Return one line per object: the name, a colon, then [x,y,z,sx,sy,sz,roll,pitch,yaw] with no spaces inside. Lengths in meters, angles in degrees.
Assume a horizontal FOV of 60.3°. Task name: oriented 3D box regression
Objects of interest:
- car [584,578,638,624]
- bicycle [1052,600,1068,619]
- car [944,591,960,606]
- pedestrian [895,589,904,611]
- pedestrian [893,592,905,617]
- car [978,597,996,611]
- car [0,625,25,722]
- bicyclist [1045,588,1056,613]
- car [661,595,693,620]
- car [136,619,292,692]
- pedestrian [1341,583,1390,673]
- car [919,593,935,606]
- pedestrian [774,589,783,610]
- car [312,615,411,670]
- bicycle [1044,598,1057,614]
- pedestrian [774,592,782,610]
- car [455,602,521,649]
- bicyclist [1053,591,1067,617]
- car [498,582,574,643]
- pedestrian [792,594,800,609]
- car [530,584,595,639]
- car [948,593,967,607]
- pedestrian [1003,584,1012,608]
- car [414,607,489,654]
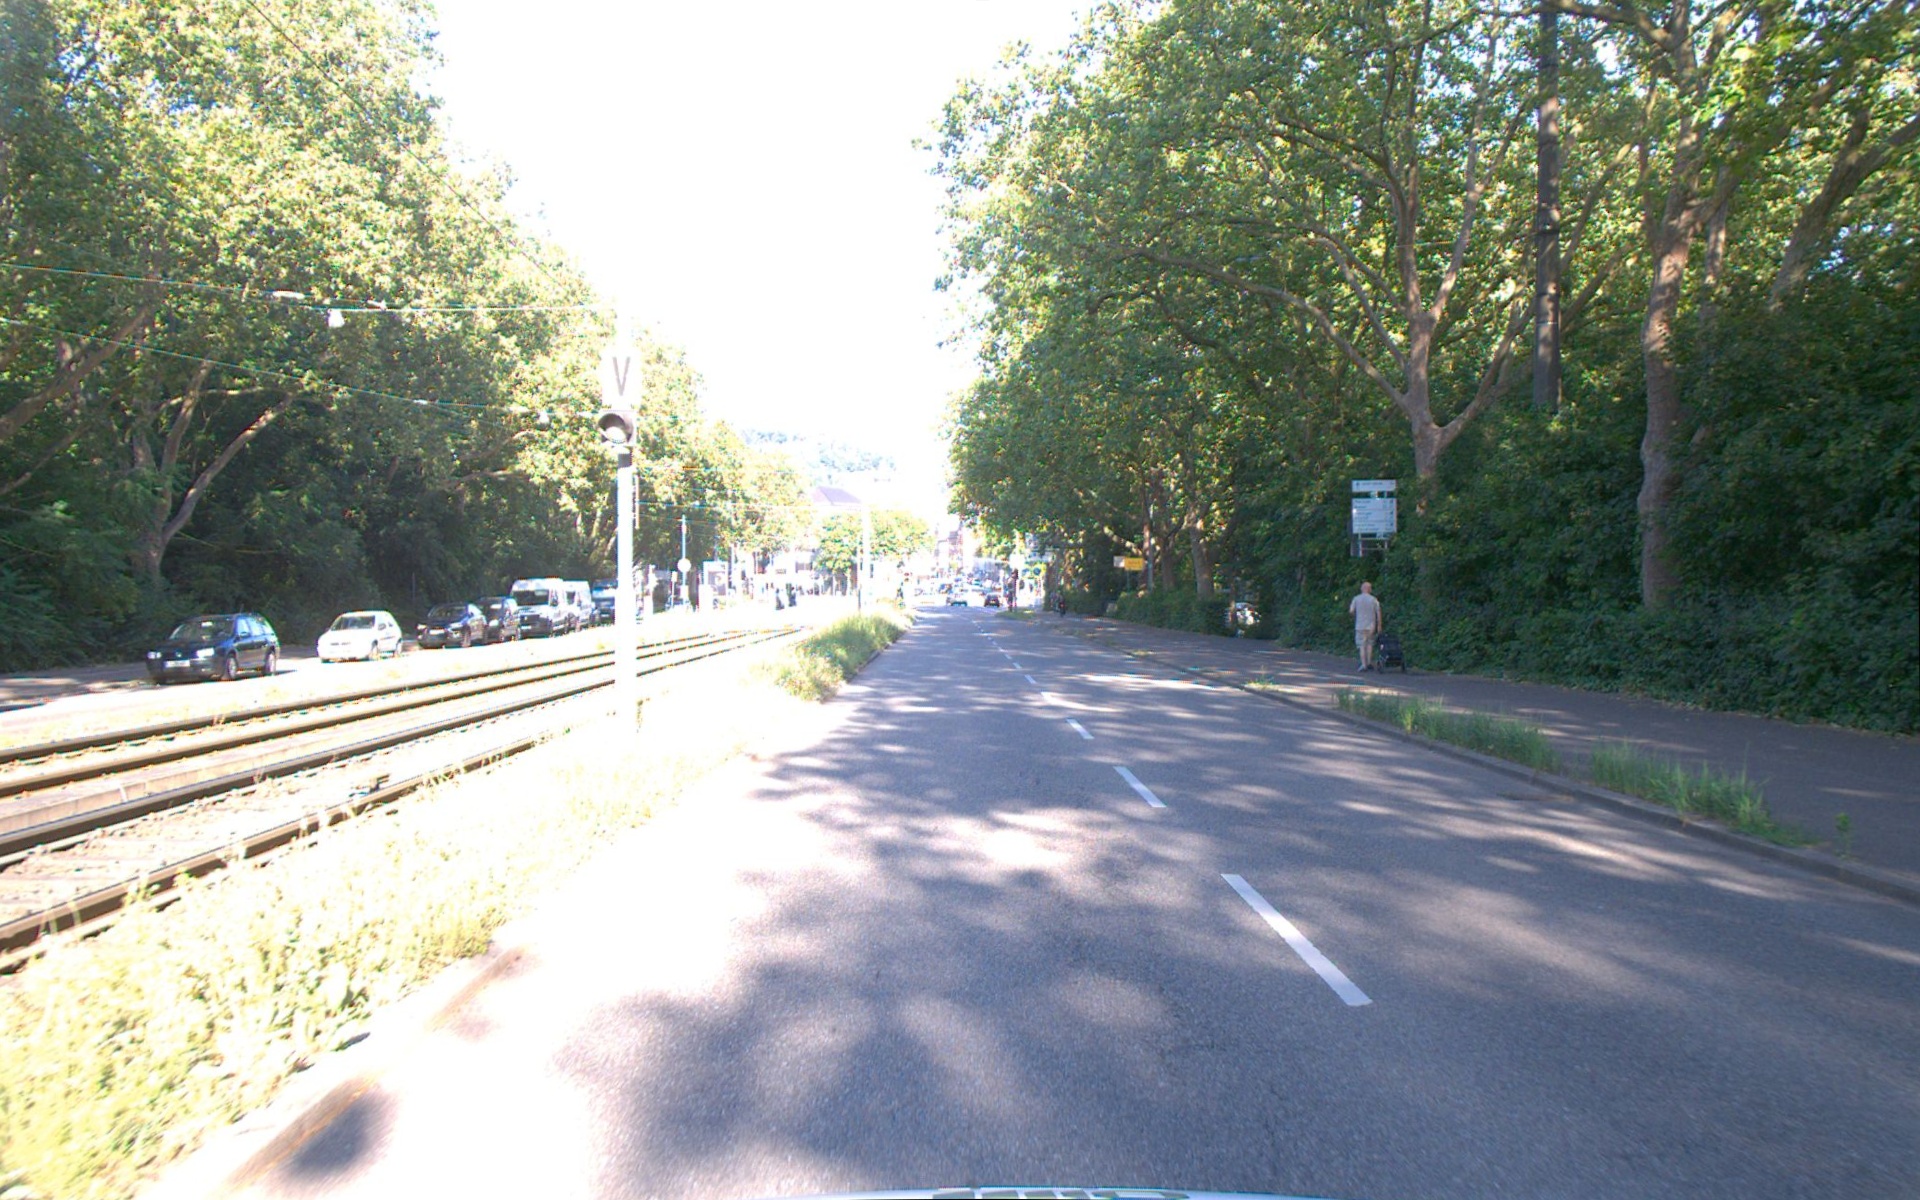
car: [-20.543,0.092,97.587,2.140,2.565,6.028,-2,0,-3]
bicycle: [5.997,0.543,99.361,0.751,1.127,1.799,0,0,-2]
car: [-0.957,-0.167,191.982,1.764,1.666,4.043,0,0,-3]
pedestrian: [-4.905,-0.021,133.866,0.727,1.724,0.791,1,0,-1]
pedestrian: [-4.063,0.304,110.379,0.510,1.595,0.507,-3,0,28]
car: [2.913,0.440,179.848,1.764,1.464,4.043,1,0,-2]
car: [-15.943,1.188,24.575,1.791,1.531,4.391,-2,0,-4]
bicyclist: [6.565,0.048,120.010,0.685,1.758,1.079,0,0,-3]
car: [-20.595,0.562,120.551,1.866,1.680,3.969,-2,0,-5]
car: [-16.897,1.208,37.690,1.791,1.462,4.320,-2,0,-4]
pedestrian: [7.736,0.530,31.564,0.635,1.664,0.927,-3,0,-1]
car: [-3.864,-0.093,193.733,1.772,1.478,3.998,0,0,-3]
pedestrian: [-15.429,-0.033,140.660,0.635,1.803,0.650,1,-1,1]
car: [-17.675,1.222,48.991,1.704,1.462,3.849,-2,0,-4]
bicycle: [6.565,0.441,120.007,0.685,1.127,1.929,0,0,-3]
pedestrian: [-15.388,0.079,139.989,0.581,1.571,0.626,1,-1,-2]
car: [-18.905,1.017,66.346,1.704,1.758,3.879,-2,0,-4]
bicyclist: [5.992,0.249,99.365,0.751,1.539,0.650,0,0,-3]
car: [-19.106,0.569,74.742,2.140,2.565,6.045,-2,0,-4]
pedestrian: [-15.512,0.116,156.516,0.656,1.347,0.756,-3,0,-4]
car: [-19.807,0.574,82.656,2.141,2.565,6.265,-2,0,-5]
car: [-0.280,-0.031,184.654,1.890,1.498,4.853,0,0,-2]
pedestrian: [3.795,-0.282,131.596,0.643,1.903,0.677,0,0,-2]
car: [-18.394,1.081,59.992,1.704,1.582,3.879,-2,0,-4]
